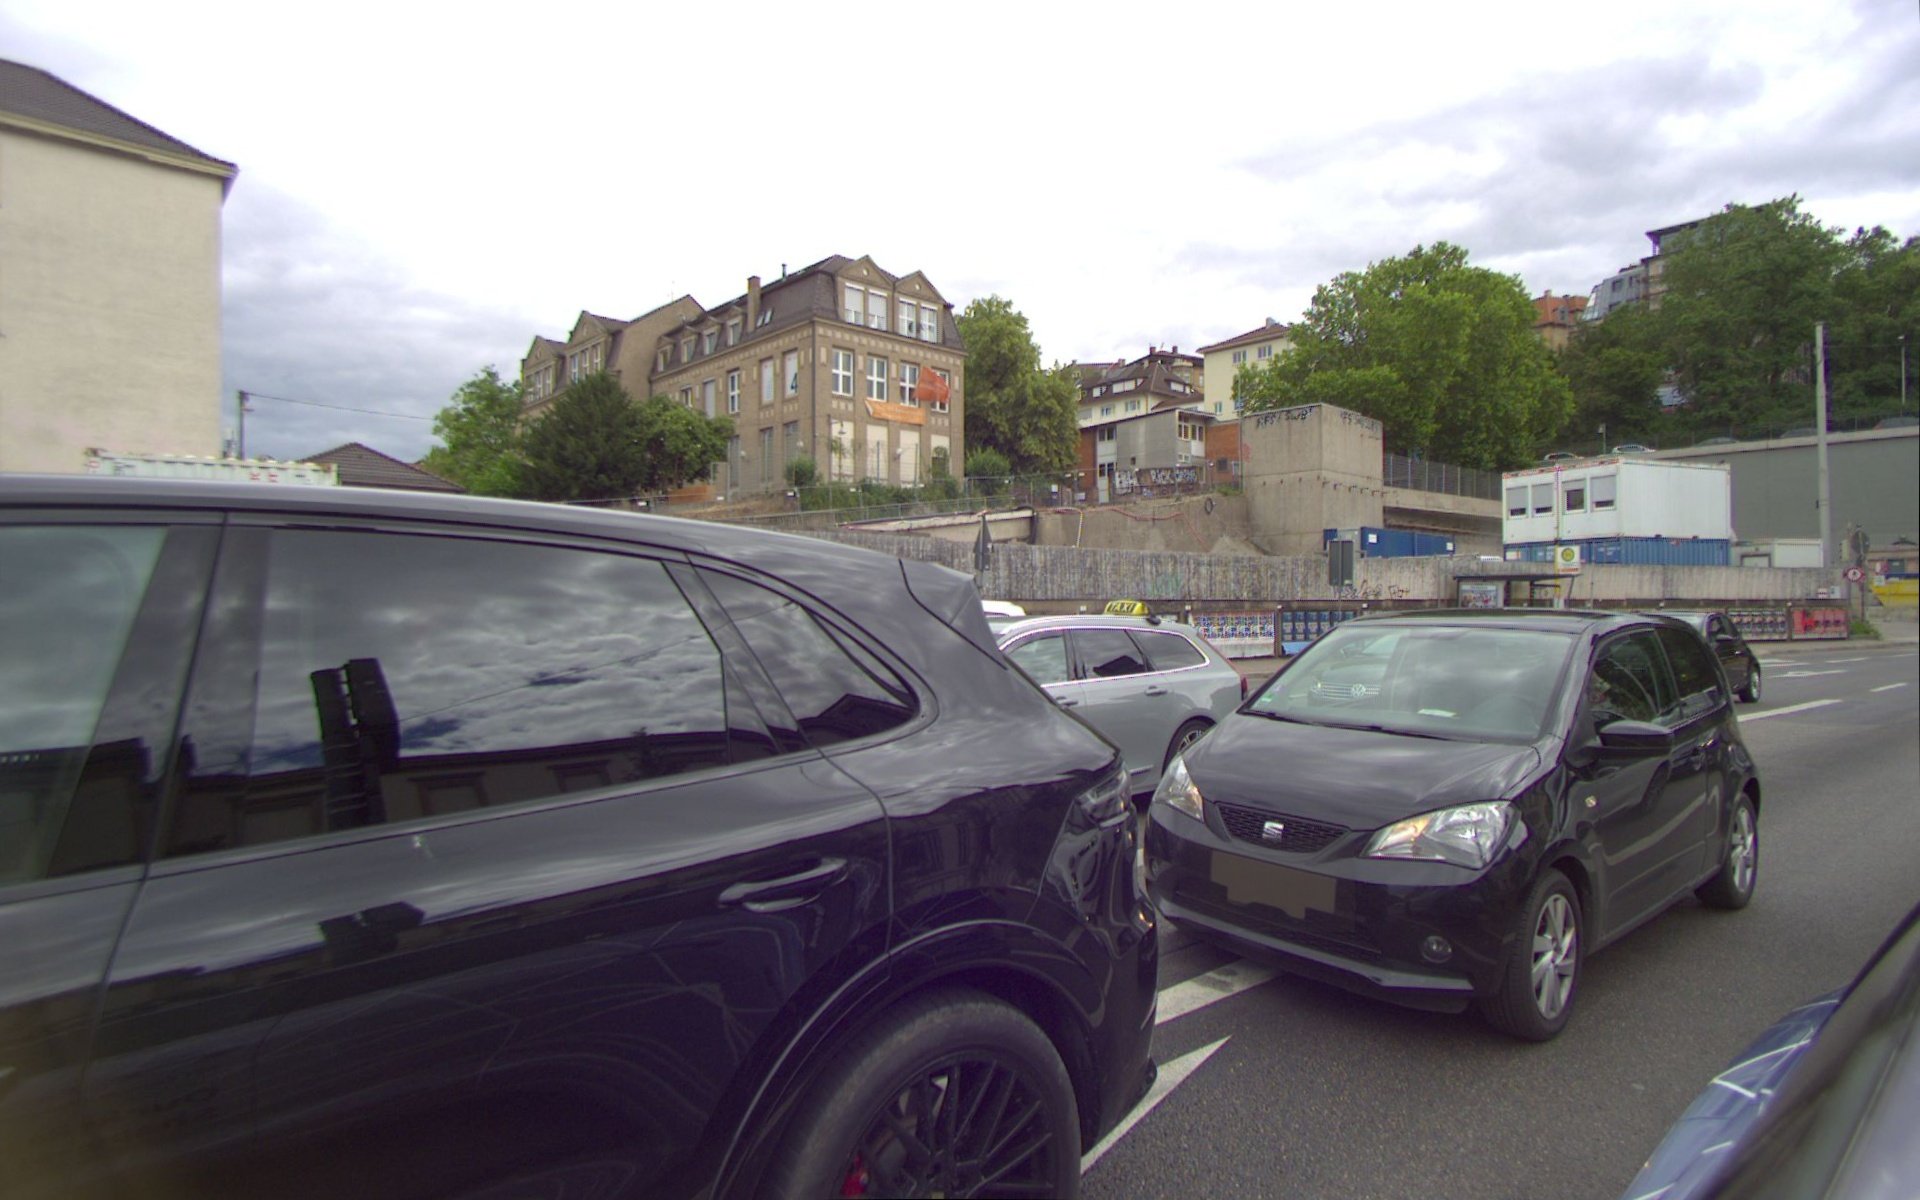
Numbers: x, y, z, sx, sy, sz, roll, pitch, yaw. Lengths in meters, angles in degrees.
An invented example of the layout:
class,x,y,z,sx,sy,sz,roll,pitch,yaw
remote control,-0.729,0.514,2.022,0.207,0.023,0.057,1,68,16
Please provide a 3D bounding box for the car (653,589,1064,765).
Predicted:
class,x,y,z,sx,sy,sz,roll,pitch,yaw
car,-0.935,0.634,10.606,4.004,1.484,1.824,-1,1,-42

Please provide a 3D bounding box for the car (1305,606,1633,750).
class,x,y,z,sx,sy,sz,roll,pitch,yaw
car,6.027,0.770,11.809,4.139,1.381,1.827,1,0,-38

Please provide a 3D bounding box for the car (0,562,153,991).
class,x,y,z,sx,sy,sz,roll,pitch,yaw
car,-5.057,0.638,3.459,3.581,1.529,1.826,-1,0,-39

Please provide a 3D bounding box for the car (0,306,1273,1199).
class,x,y,z,sx,sy,sz,roll,pitch,yaw
car,-1.652,0.558,1.669,4.497,1.689,1.998,-1,0,-39

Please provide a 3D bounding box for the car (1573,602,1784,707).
class,x,y,z,sx,sy,sz,roll,pitch,yaw
car,11.481,0.797,16.113,3.711,1.478,1.721,1,-2,-38

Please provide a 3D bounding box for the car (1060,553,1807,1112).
class,x,y,z,sx,sy,sz,roll,pitch,yaw
car,2.416,0.633,4.722,3.841,1.575,1.661,-1,0,-39

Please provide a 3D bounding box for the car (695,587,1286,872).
class,x,y,z,sx,sy,sz,roll,pitch,yaw
car,0.404,0.659,7.343,4.142,1.484,1.825,-1,0,-40
